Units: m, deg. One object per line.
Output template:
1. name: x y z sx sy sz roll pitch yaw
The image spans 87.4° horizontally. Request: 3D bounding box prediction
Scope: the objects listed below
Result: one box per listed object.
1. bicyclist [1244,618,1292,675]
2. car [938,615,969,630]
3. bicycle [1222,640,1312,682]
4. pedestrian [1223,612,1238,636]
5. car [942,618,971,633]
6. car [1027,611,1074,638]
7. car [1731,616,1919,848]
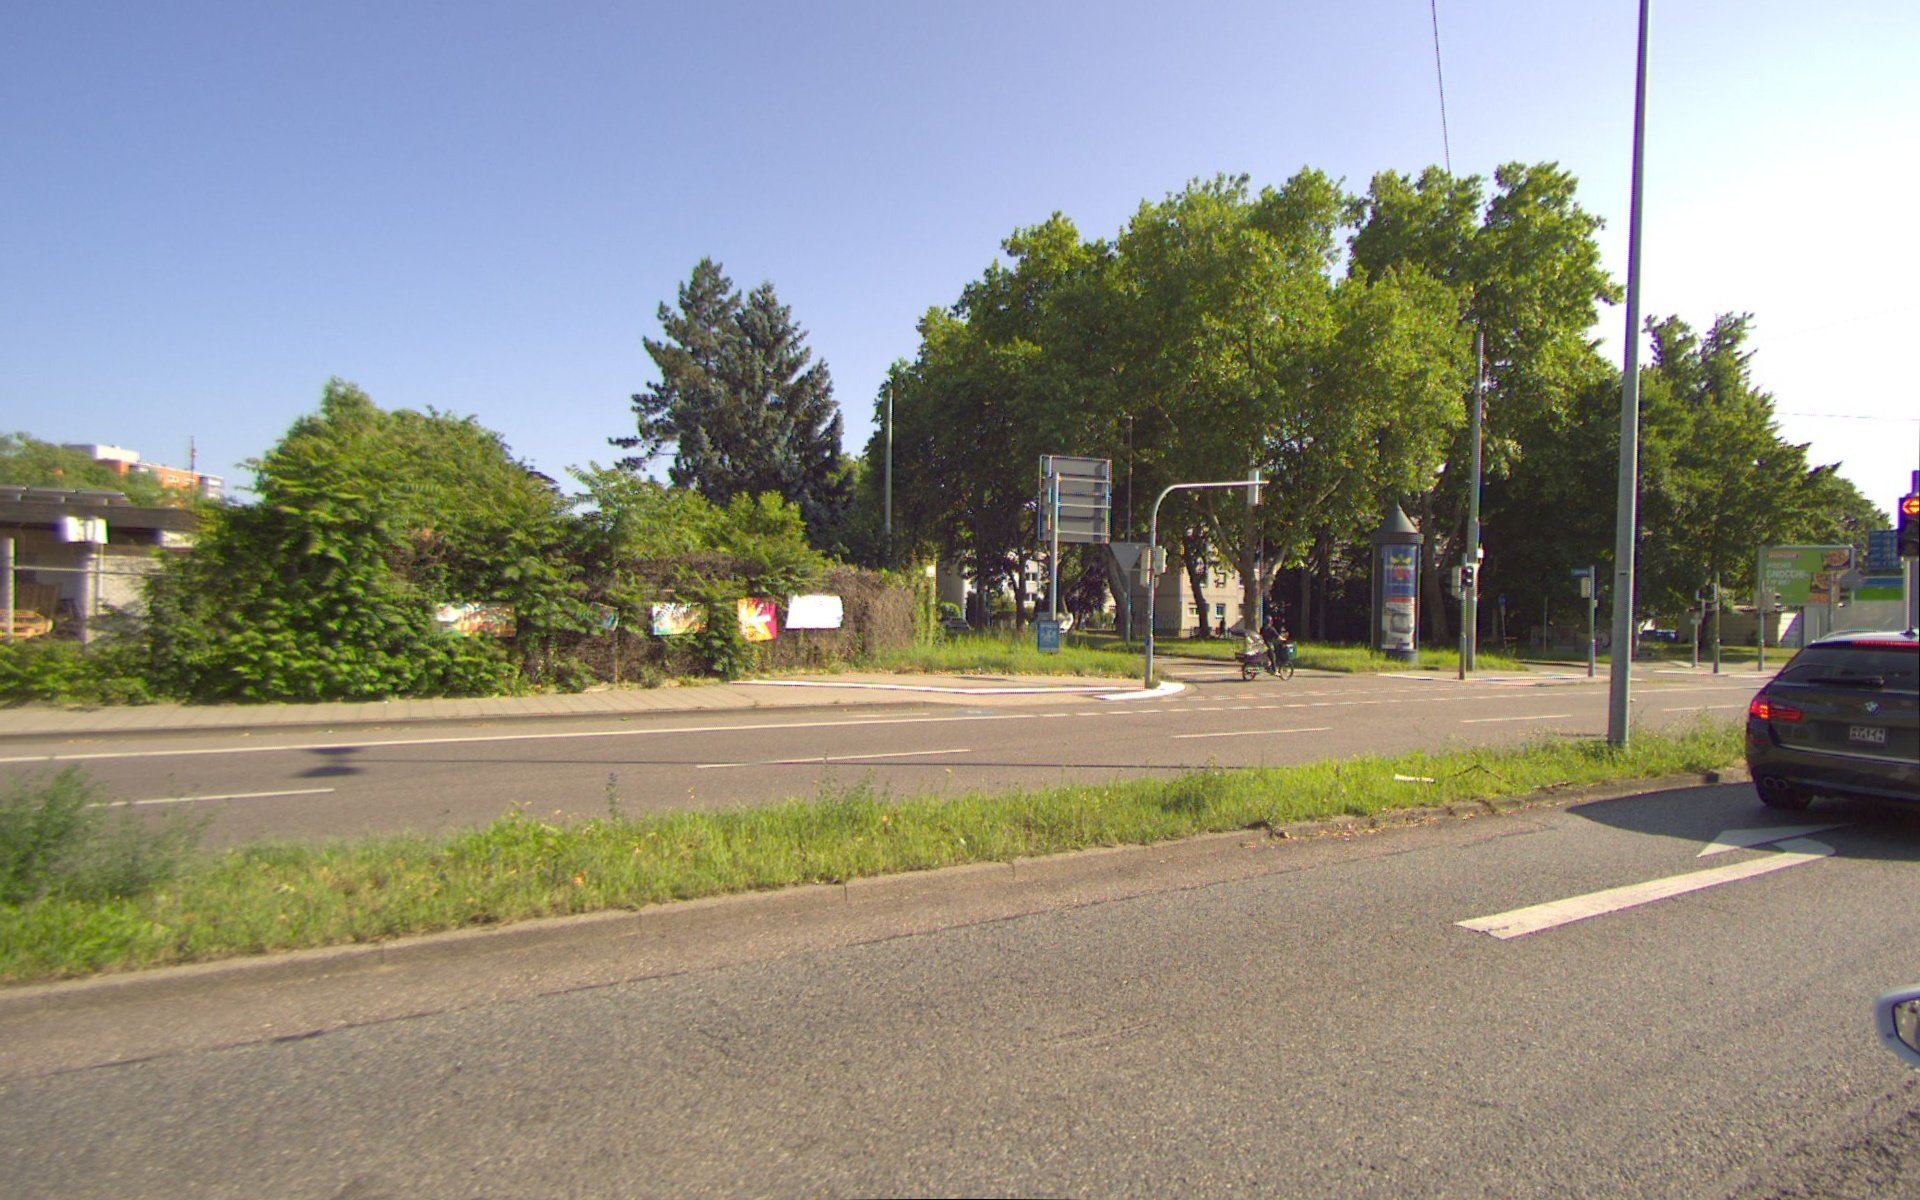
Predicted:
1. bicyclist: 8.204 1.235 26.770 1.037 1.472 0.659 2 -1 -27
2. car: -0.676 2.204 99.111 1.798 1.425 3.520 2 -1 -23
3. bicycle: 8.195 1.616 26.763 2.547 1.063 0.659 2 -1 -27
4. pedestrian: 20.828 1.851 77.436 0.863 1.793 0.685 1 -1 -17
5. car: -0.379 2.715 106.978 1.798 1.544 3.520 2 -1 -23
6. car: 7.079 1.911 78.785 1.798 1.989 4.378 2 -1 -23
7. car: 8.253 0.958 8.162 4.596 1.505 1.749 2 1 -34
